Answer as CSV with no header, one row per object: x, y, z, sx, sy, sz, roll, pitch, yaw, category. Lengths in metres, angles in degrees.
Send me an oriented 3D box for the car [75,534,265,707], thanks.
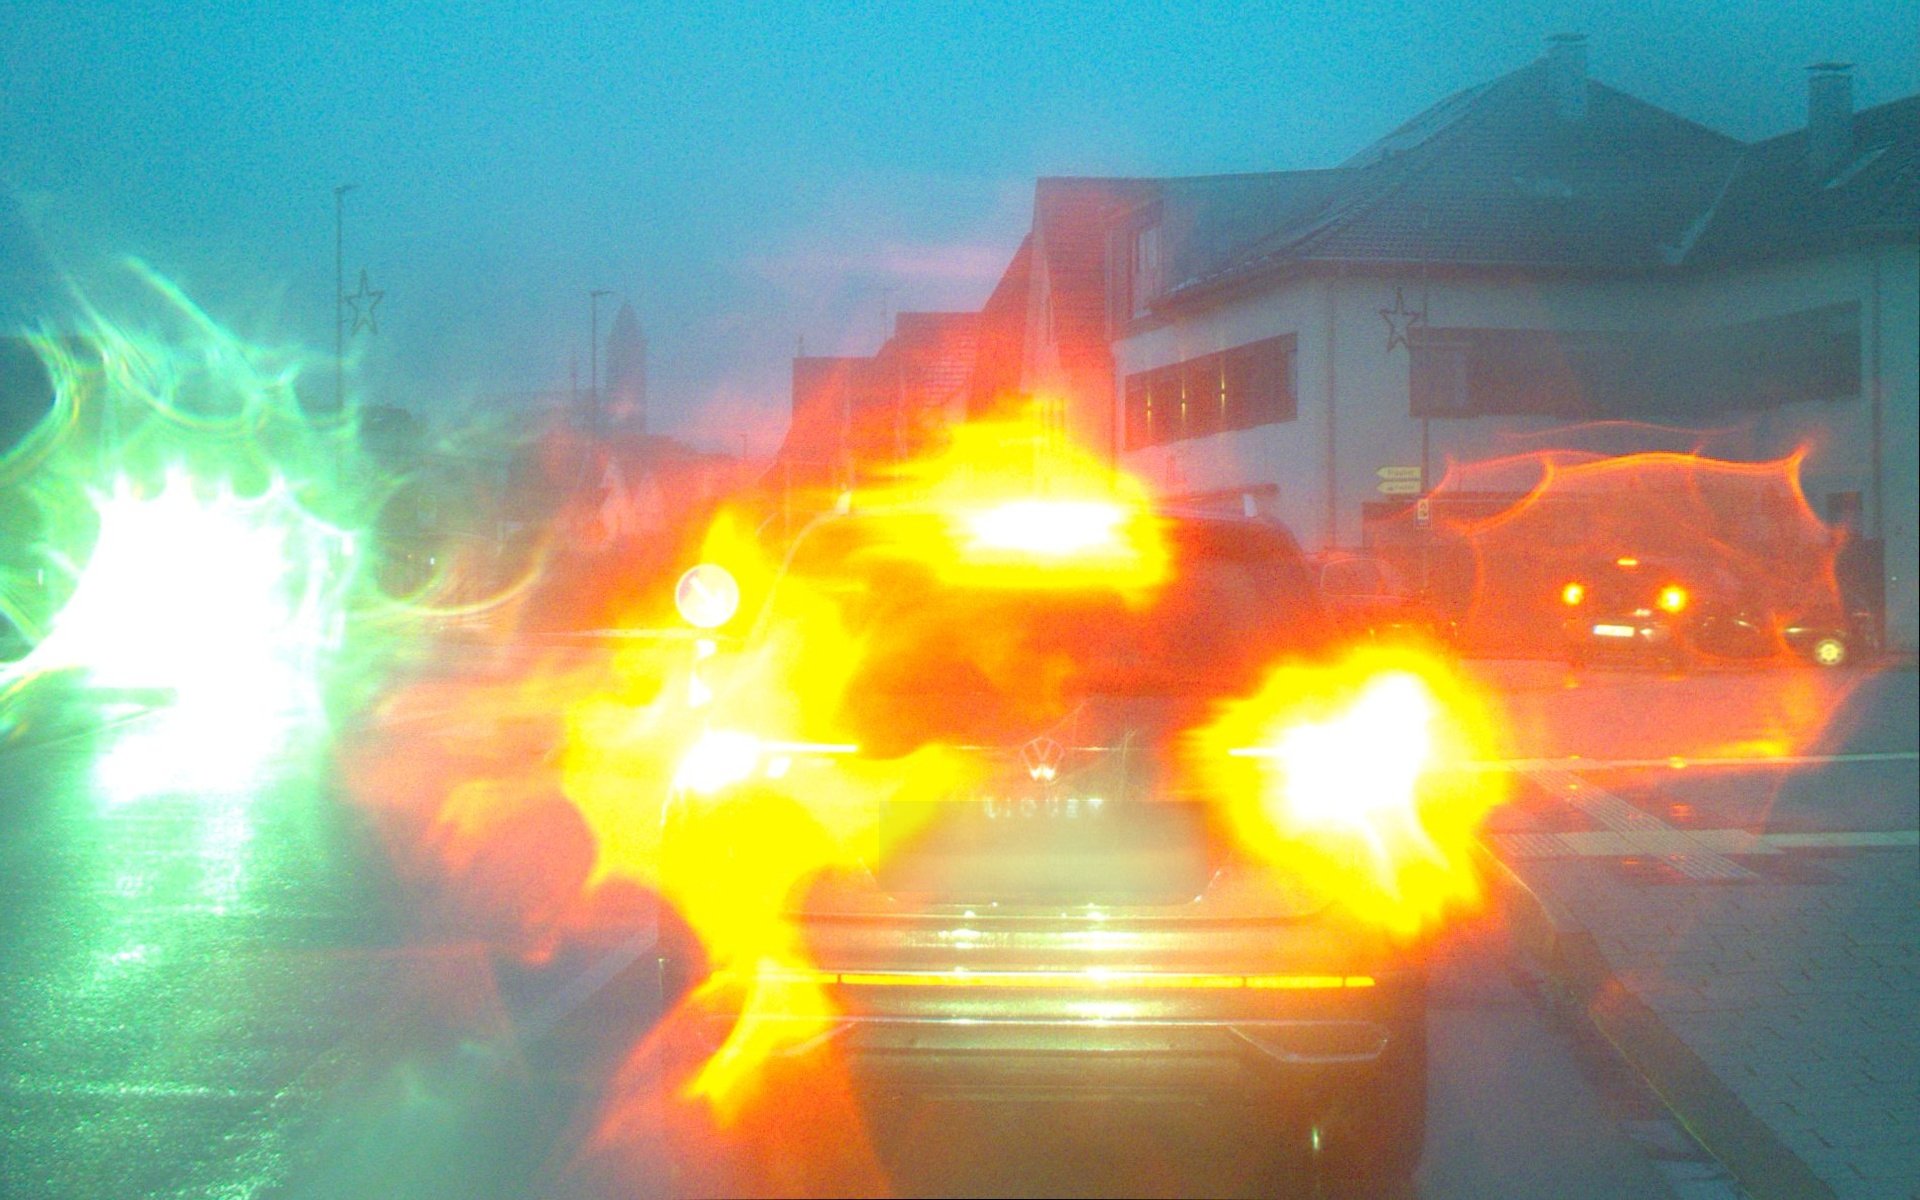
-10.784,0.250,46.719,1.993,2.196,4.419,2,0,-19,car

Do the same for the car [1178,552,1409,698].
3.479,0.219,35.227,1.994,1.387,3.998,0,1,11,car

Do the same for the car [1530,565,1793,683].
9.004,0.290,43.913,1.997,1.413,3.993,-2,0,32,car

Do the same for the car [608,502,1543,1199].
0.252,0.567,9.495,1.964,1.589,4.313,1,1,0,car

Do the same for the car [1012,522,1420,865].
1.120,0.365,16.606,1.682,1.448,4.000,0,1,0,car
